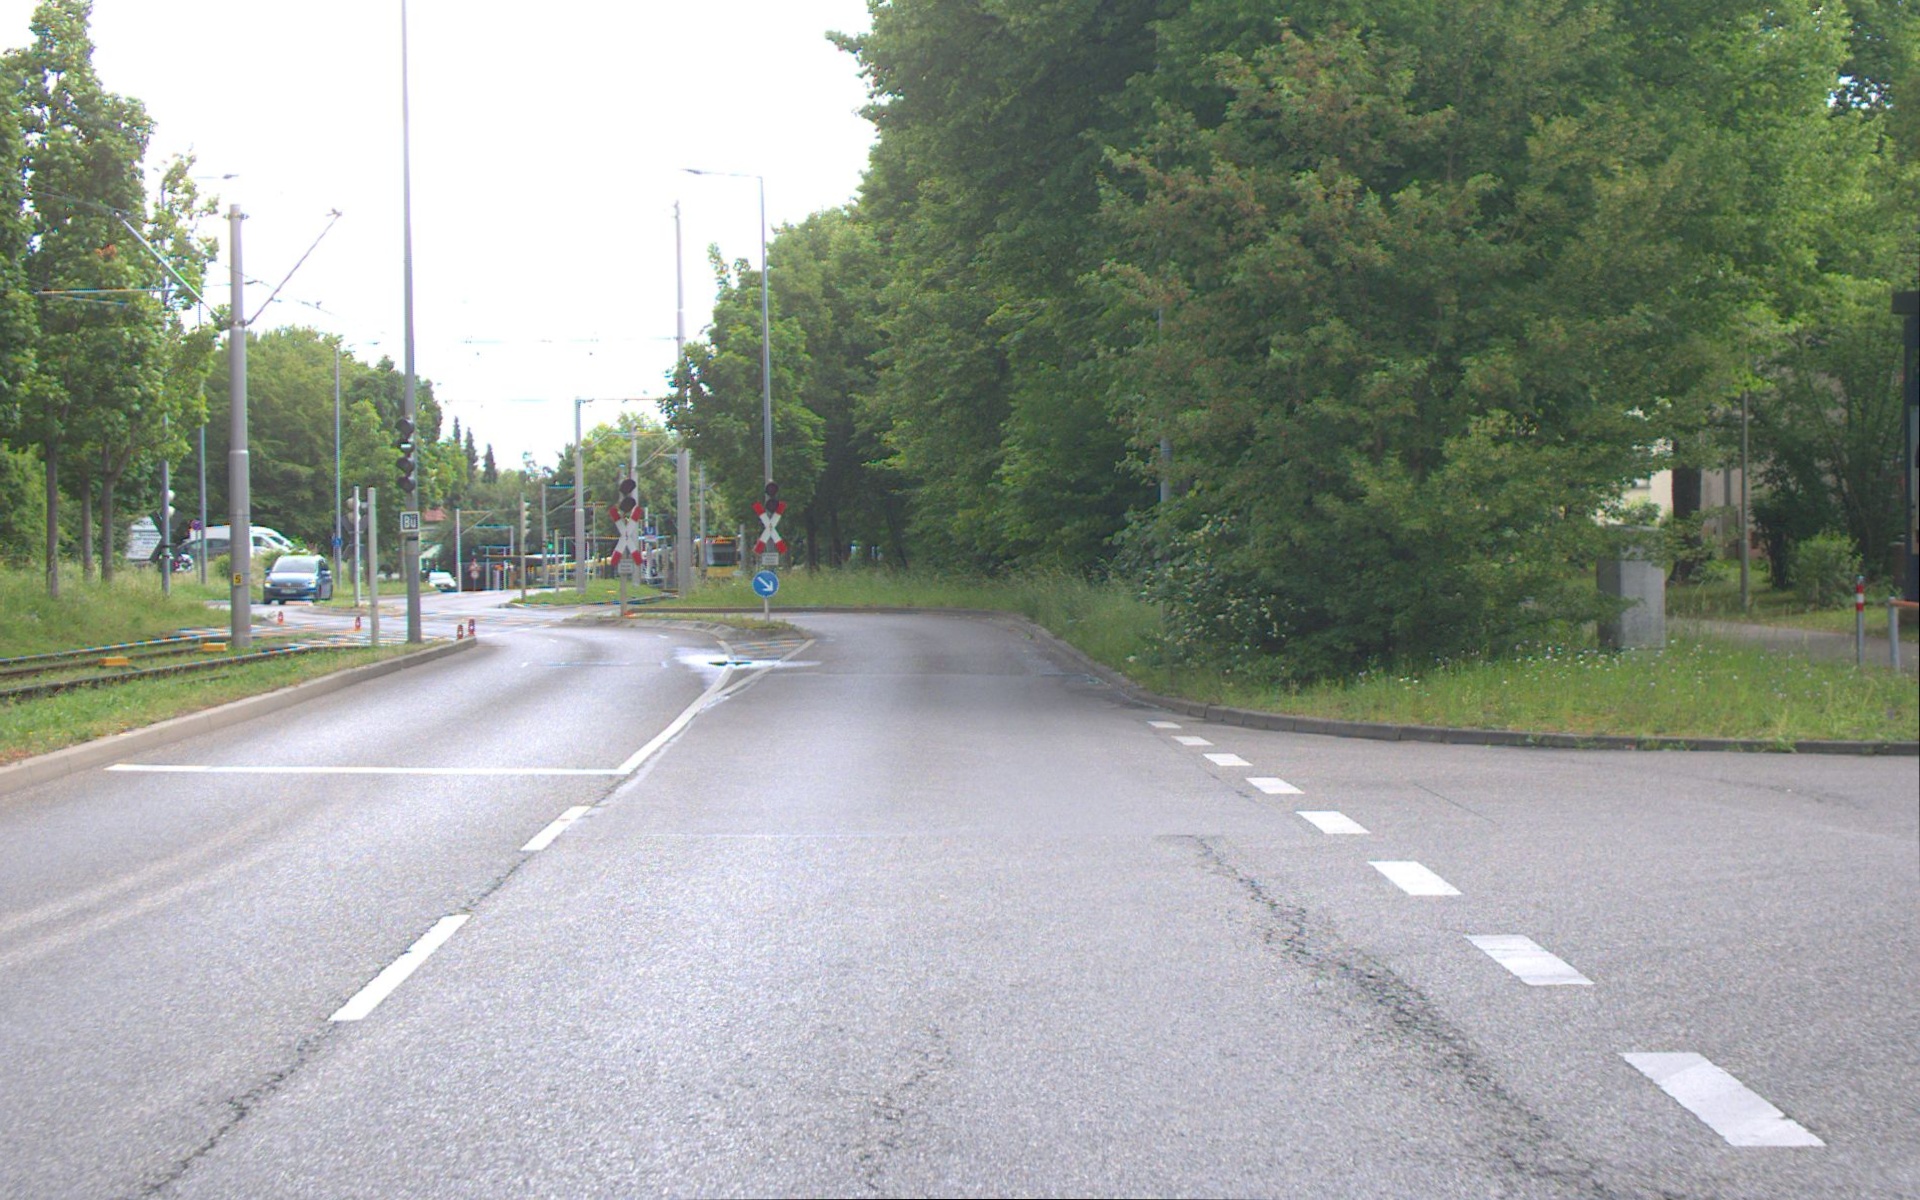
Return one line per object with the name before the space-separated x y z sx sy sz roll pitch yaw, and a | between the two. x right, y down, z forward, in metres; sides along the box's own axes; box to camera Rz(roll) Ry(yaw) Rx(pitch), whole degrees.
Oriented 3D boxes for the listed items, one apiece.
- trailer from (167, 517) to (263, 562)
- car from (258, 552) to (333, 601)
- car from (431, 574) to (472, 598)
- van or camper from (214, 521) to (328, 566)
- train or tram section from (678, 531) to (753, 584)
trailer | -33.828 -2.734 156.191 3.986 2.007 1.908 0 1 -1
car | -21.899 -0.780 113.403 1.867 1.515 4.239 0 2 -3
car | -32.442 -0.894 219.389 1.993 1.433 4.426 -2 1 -1
van or camper | -34.182 -2.806 170.631 5.332 2.195 2.000 0 1 -5
train or tram section | -16.648 -2.849 231.532 3.007 3.299 34.719 0 1 -8
